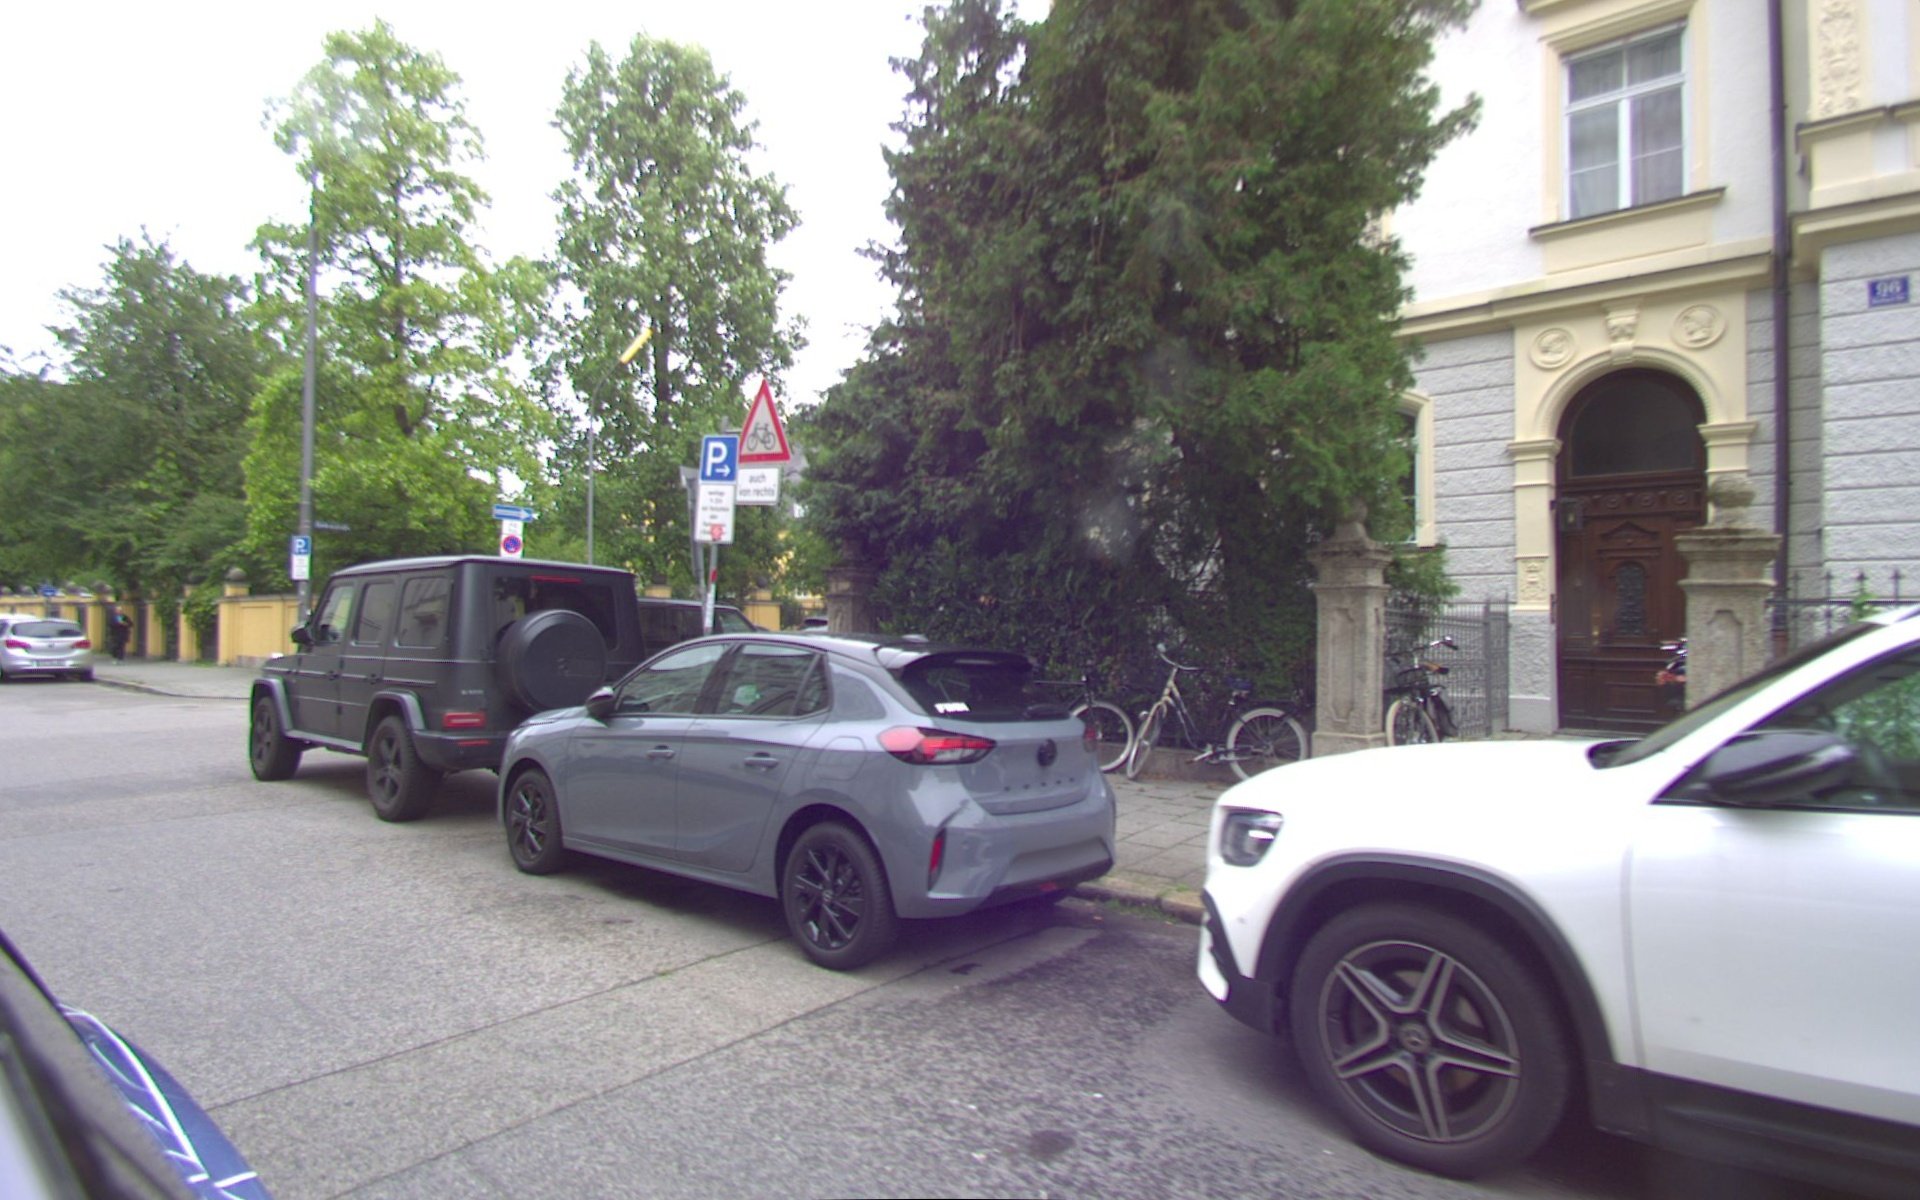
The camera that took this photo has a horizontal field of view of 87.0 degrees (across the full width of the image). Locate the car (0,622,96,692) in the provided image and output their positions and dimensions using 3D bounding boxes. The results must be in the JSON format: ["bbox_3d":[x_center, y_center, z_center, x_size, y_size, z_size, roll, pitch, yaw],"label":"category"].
[{"bbox_3d":[-22.050,1.295,23.955,3.952,1.504,1.683,-1,-3,39],"label":"car"}]

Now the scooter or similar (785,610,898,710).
[{"bbox_3d":[-1.471,0.727,12.739,0.460,1.188,1.411,-4,-3,45],"label":"scooter or similar"}]

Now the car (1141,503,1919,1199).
[{"bbox_3d":[2.858,0.670,2.426,4.482,1.661,1.788,-1,-3,40],"label":"car"}]

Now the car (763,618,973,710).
[{"bbox_3d":[-1.754,1.238,20.859,1.929,1.577,4.470,2,0,33],"label":"car"}]

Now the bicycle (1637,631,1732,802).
[{"bbox_3d":[5.167,0.779,7.200,0.393,1.112,1.125,-1,-2,43],"label":"bicycle"}]

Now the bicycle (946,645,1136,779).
[{"bbox_3d":[0.712,0.981,9.342,1.786,1.105,0.484,-1,-2,39],"label":"bicycle"}]

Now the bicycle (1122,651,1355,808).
[{"bbox_3d":[2.195,0.979,8.139,1.764,1.105,0.484,-1,-2,39],"label":"bicycle"}]

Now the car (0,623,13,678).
[{"bbox_3d":[-29.708,1.453,30.139,3.926,1.573,1.633,-1,-3,39],"label":"car"}]

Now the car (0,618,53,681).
[{"bbox_3d":[-25.773,1.270,27.035,3.926,1.573,1.684,-1,-1,39],"label":"car"}]

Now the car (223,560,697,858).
[{"bbox_3d":[-4.526,0.727,8.771,4.814,1.901,1.892,0,-2,41],"label":"car"}]

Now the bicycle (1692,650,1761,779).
[{"bbox_3d":[7.236,1.046,9.541,0.393,1.112,1.125,-1,-2,43],"label":"bicycle"}]

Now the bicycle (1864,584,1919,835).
[{"bbox_3d":[5.903,0.560,4.688,2.529,1.269,0.689,-1,-3,42],"label":"bicycle"}]

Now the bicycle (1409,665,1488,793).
[{"bbox_3d":[4.109,1.040,8.477,0.337,0.969,1.459,-1,-4,36],"label":"bicycle"}]

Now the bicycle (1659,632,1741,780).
[{"bbox_3d":[6.035,0.820,8.236,0.393,1.112,1.125,-1,-2,43],"label":"bicycle"}]

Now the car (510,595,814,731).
[{"bbox_3d":[-4.630,0.928,16.414,2.049,1.872,4.470,0,-2,33],"label":"car"}]

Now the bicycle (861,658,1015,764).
[{"bbox_3d":[-0.245,1.076,10.127,1.635,0.959,0.446,-2,-2,39],"label":"bicycle"}]

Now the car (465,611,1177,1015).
[{"bbox_3d":[-0.969,0.845,5.581,3.916,1.441,1.626,0,-4,40],"label":"car"}]
